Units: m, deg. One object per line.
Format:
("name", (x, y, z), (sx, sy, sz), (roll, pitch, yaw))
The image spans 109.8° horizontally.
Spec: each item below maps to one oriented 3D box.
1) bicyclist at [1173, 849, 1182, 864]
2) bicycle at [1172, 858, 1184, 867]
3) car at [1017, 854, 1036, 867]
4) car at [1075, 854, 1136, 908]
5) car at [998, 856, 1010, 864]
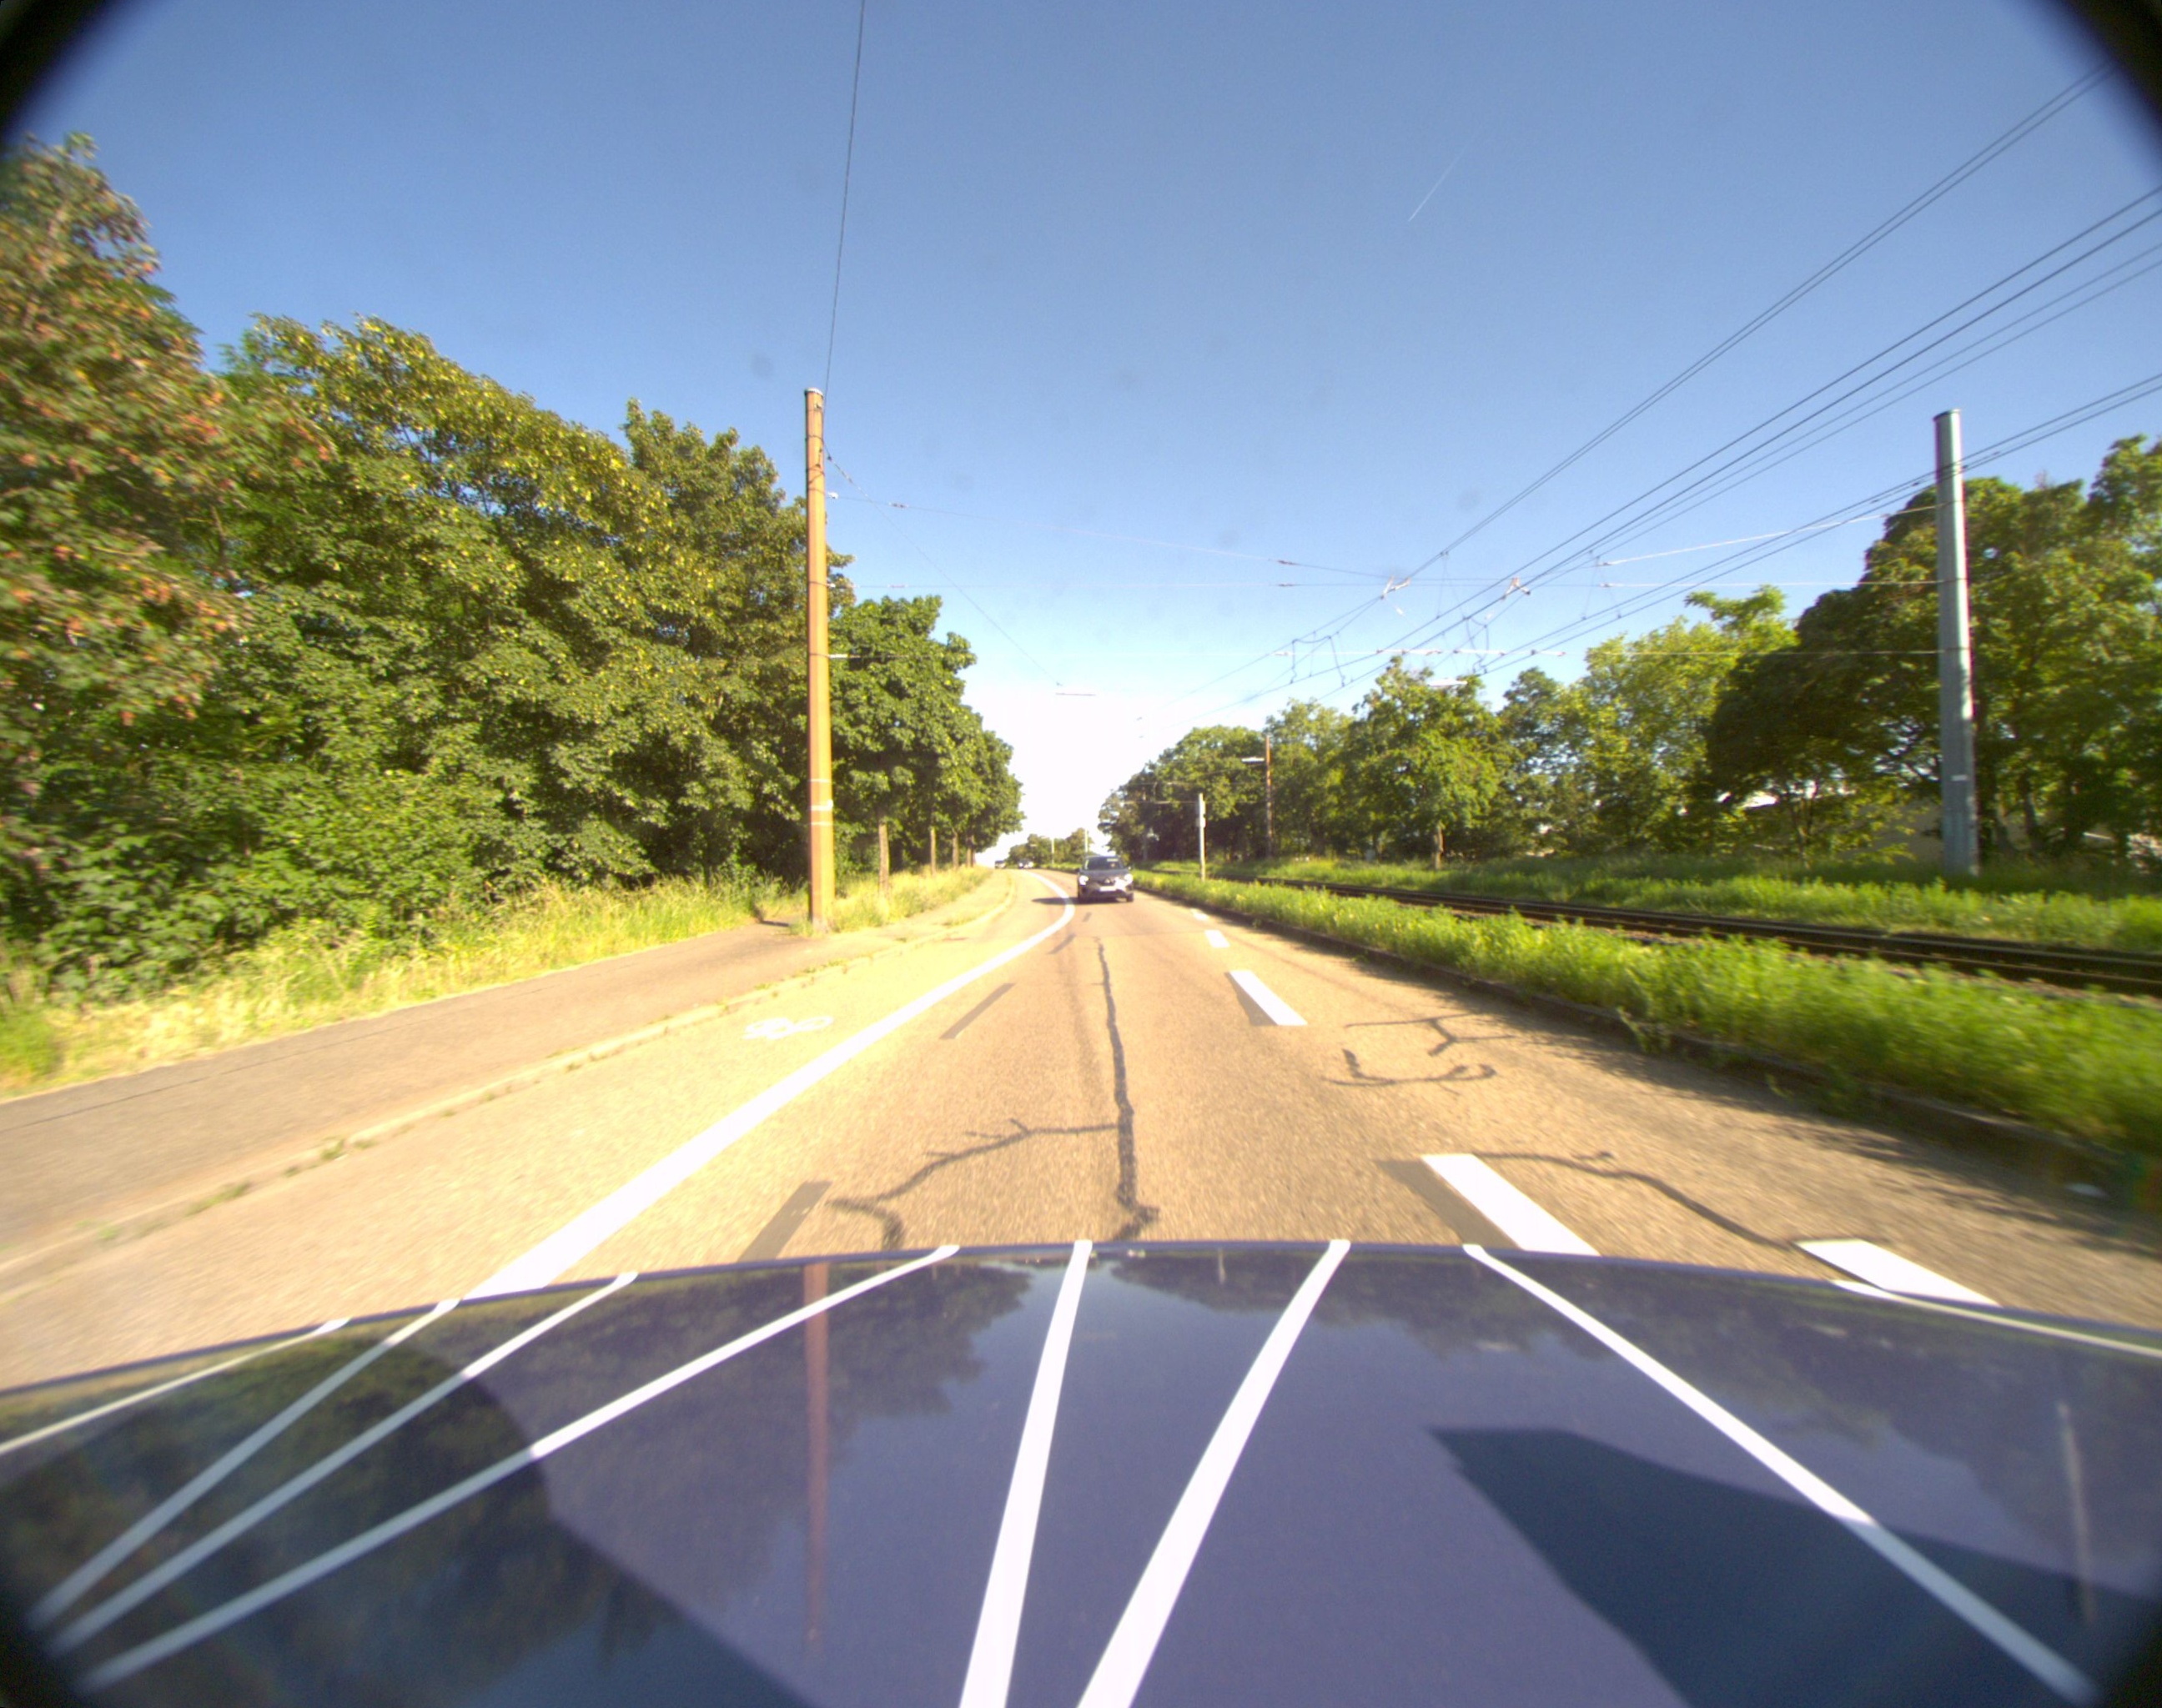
("bicyclist", (11.171, 0.311, 88.040), (0.821, 1.726, 0.902), (-3, 1, -6))
("bicycle", (11.218, 0.964, 88.144), (0.821, 0.909, 2.536), (-3, 0, -6))
("car", (-7.310, 0.855, 102.036), (2.000, 1.577, 3.996), (-3, 1, -10))
("car", (0.765, 0.859, 26.363), (1.822, 1.589, 4.412), (-3, 0, -1))
("car", (-16.961, 1.333, 167.824), (2.001, 1.577, 3.995), (-3, 1, -13))
